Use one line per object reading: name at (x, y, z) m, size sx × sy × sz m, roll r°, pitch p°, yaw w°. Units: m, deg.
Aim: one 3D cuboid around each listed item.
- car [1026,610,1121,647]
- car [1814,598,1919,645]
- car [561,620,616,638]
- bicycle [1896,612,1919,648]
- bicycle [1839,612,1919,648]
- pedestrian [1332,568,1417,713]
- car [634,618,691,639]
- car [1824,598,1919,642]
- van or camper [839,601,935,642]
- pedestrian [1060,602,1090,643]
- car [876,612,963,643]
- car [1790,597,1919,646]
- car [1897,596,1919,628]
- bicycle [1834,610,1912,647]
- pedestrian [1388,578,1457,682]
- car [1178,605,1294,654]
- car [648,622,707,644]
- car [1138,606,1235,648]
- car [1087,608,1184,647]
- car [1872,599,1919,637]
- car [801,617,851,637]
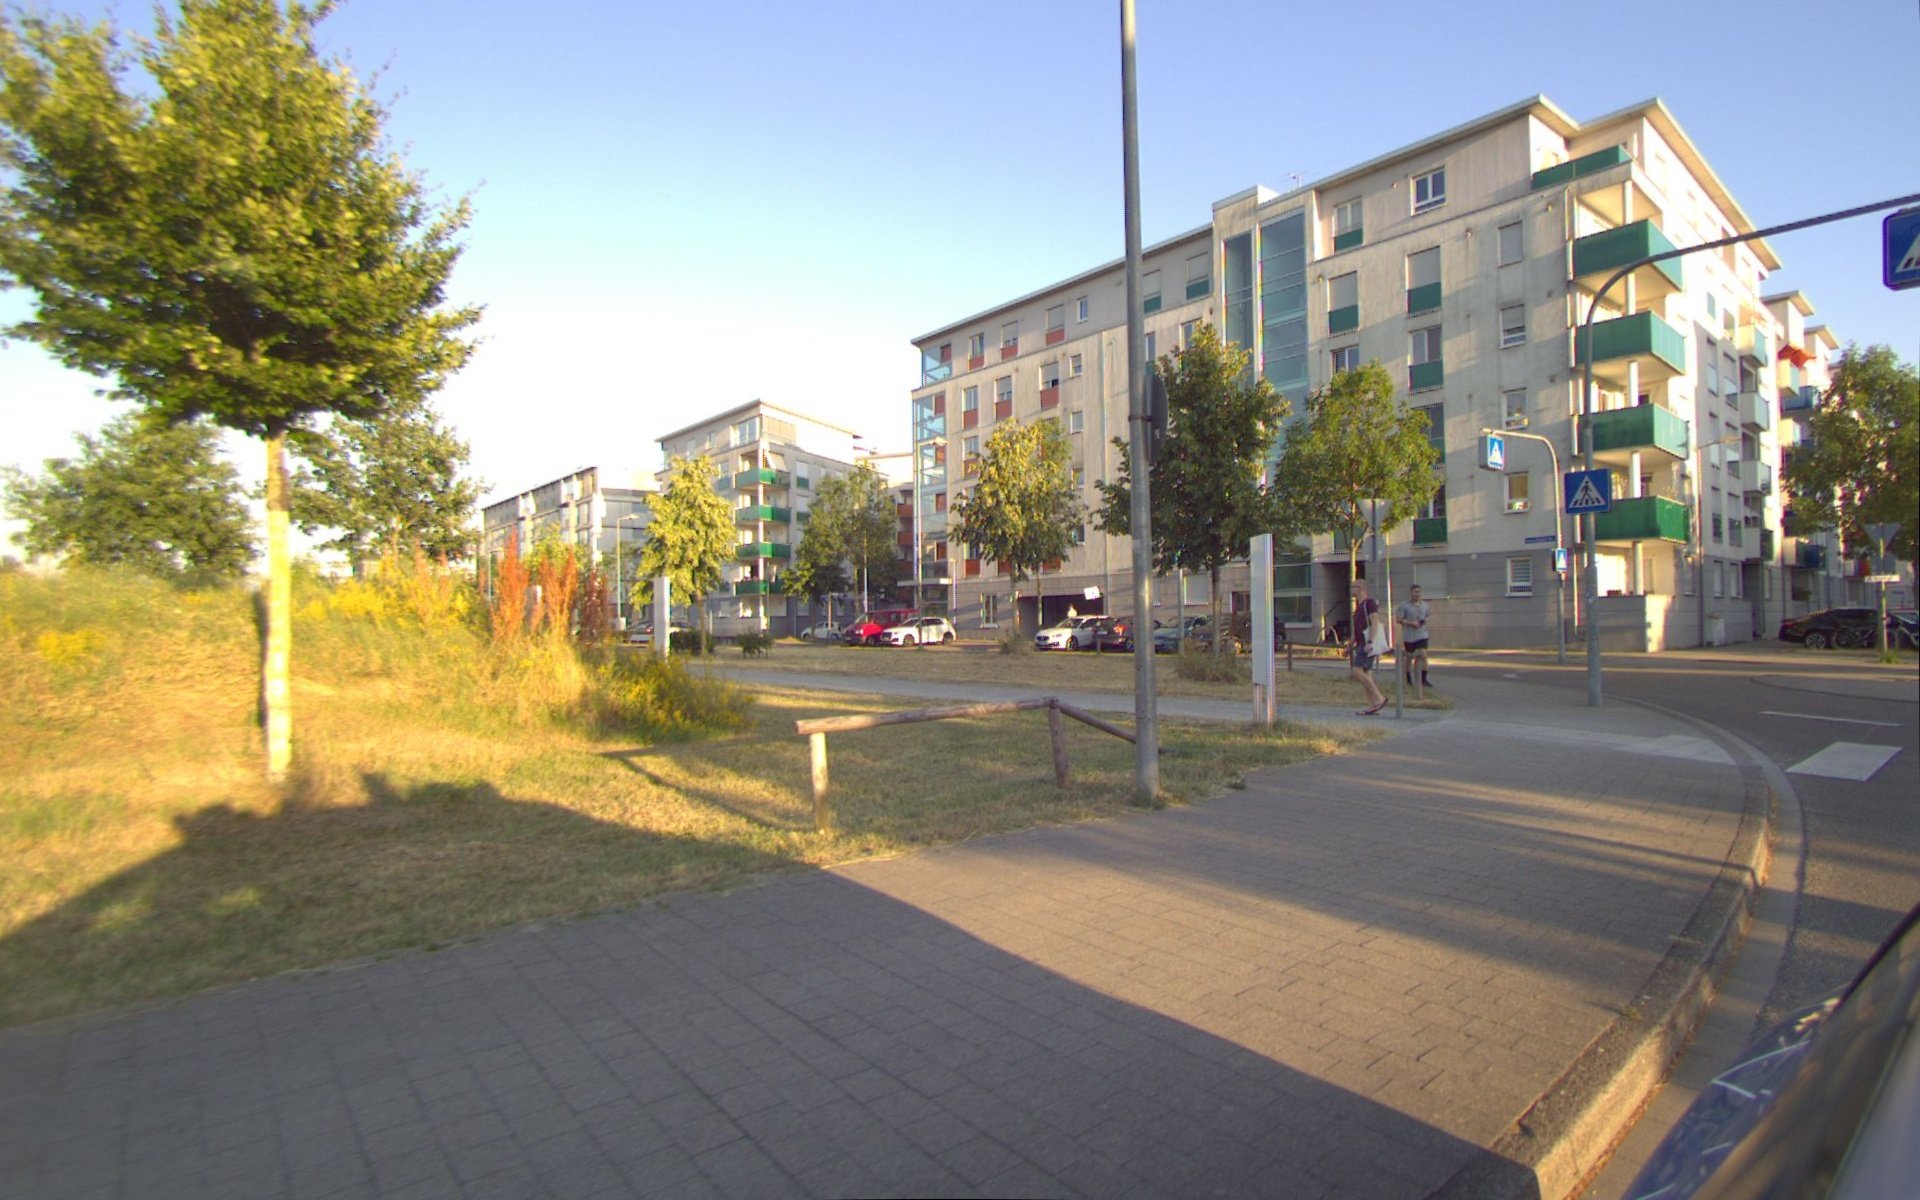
car at (4.779, 1.191, 42.205) m, size 3.985 × 1.499 × 1.698 m, roll 2°, pitch -2°, yaw -41°
car at (32.912, 0.761, 35.398) m, size 1.711 × 1.527 × 4.413 m, roll 2°, pitch 1°, yaw -38°
car at (-33.876, 2.612, 92.267) m, size 4.336 × 1.613 × 1.948 m, roll 2°, pitch -3°, yaw -42°
bicycle at (30.097, 0.946, 31.171) m, size 1.835 × 1.085 × 0.466 m, roll 2°, pitch 0°, yaw 44°
bicycle at (29.537, 0.948, 32.419) m, size 2.029 × 1.059 × 0.466 m, roll 2°, pitch 0°, yaw 45°
pedestrian at (5.410, 0.523, 13.202) m, size 0.788 × 1.807 × 0.733 m, roll 2°, pitch -3°, yaw -41°
car at (-22.922, 2.192, 78.024) m, size 3.888 × 1.613 × 1.775 m, roll 2°, pitch -3°, yaw -43°
car at (34.722, 0.750, 37.219) m, size 1.713 × 1.512 × 4.289 m, roll 1°, pitch 1°, yaw -42°
van or camper at (-3.890, 1.176, 54.436) m, size 5.042 × 2.087 × 1.874 m, roll 2°, pitch -3°, yaw -41°
pedestrian at (5.444, 1.050, 48.034) m, size 0.962 × 1.919 × 1.048 m, roll 2°, pitch -3°, yaw -39°
car at (-2.064, 1.434, 52.197) m, size 4.388 × 1.541 × 1.698 m, roll 2°, pitch -3°, yaw -41°
car at (30.919, 0.723, 33.633) m, size 1.903 × 1.476 × 4.885 m, roll 1°, pitch 1°, yaw -40°
car at (48.972, 0.654, 49.874) m, size 4.092 × 1.528 × 1.639 m, roll 2°, pitch 1°, yaw 44°
bicycle at (28.651, 0.887, 31.764) m, size 1.788 × 1.055 × 0.558 m, roll 2°, pitch 0°, yaw 44°
pedestrian at (8.053, 0.526, 17.649) m, size 0.752 × 1.752 × 0.802 m, roll 2°, pitch -3°, yaw -34°
car at (9.886, 1.007, 36.066) m, size 4.403 × 1.506 × 1.830 m, roll -2°, pitch 0°, yaw -41°
car at (-21.247, 2.481, 76.256) m, size 3.888 × 1.613 × 1.775 m, roll 2°, pitch -3°, yaw -43°
car at (8.702, 1.022, 38.701) m, size 3.937 × 1.391 × 1.557 m, roll -2°, pitch 0°, yaw -41°
car at (7.066, 1.099, 40.585) m, size 3.985 × 1.499 × 1.698 m, roll 2°, pitch -2°, yaw -41°
car at (40.570, 0.776, 41.747) m, size 1.658 × 1.527 × 4.285 m, roll 1°, pitch 1°, yaw -45°
car at (-10.226, 2.088, 77.136) m, size 3.480 × 1.487 × 1.603 m, roll -1°, pitch -2°, yaw 19°
